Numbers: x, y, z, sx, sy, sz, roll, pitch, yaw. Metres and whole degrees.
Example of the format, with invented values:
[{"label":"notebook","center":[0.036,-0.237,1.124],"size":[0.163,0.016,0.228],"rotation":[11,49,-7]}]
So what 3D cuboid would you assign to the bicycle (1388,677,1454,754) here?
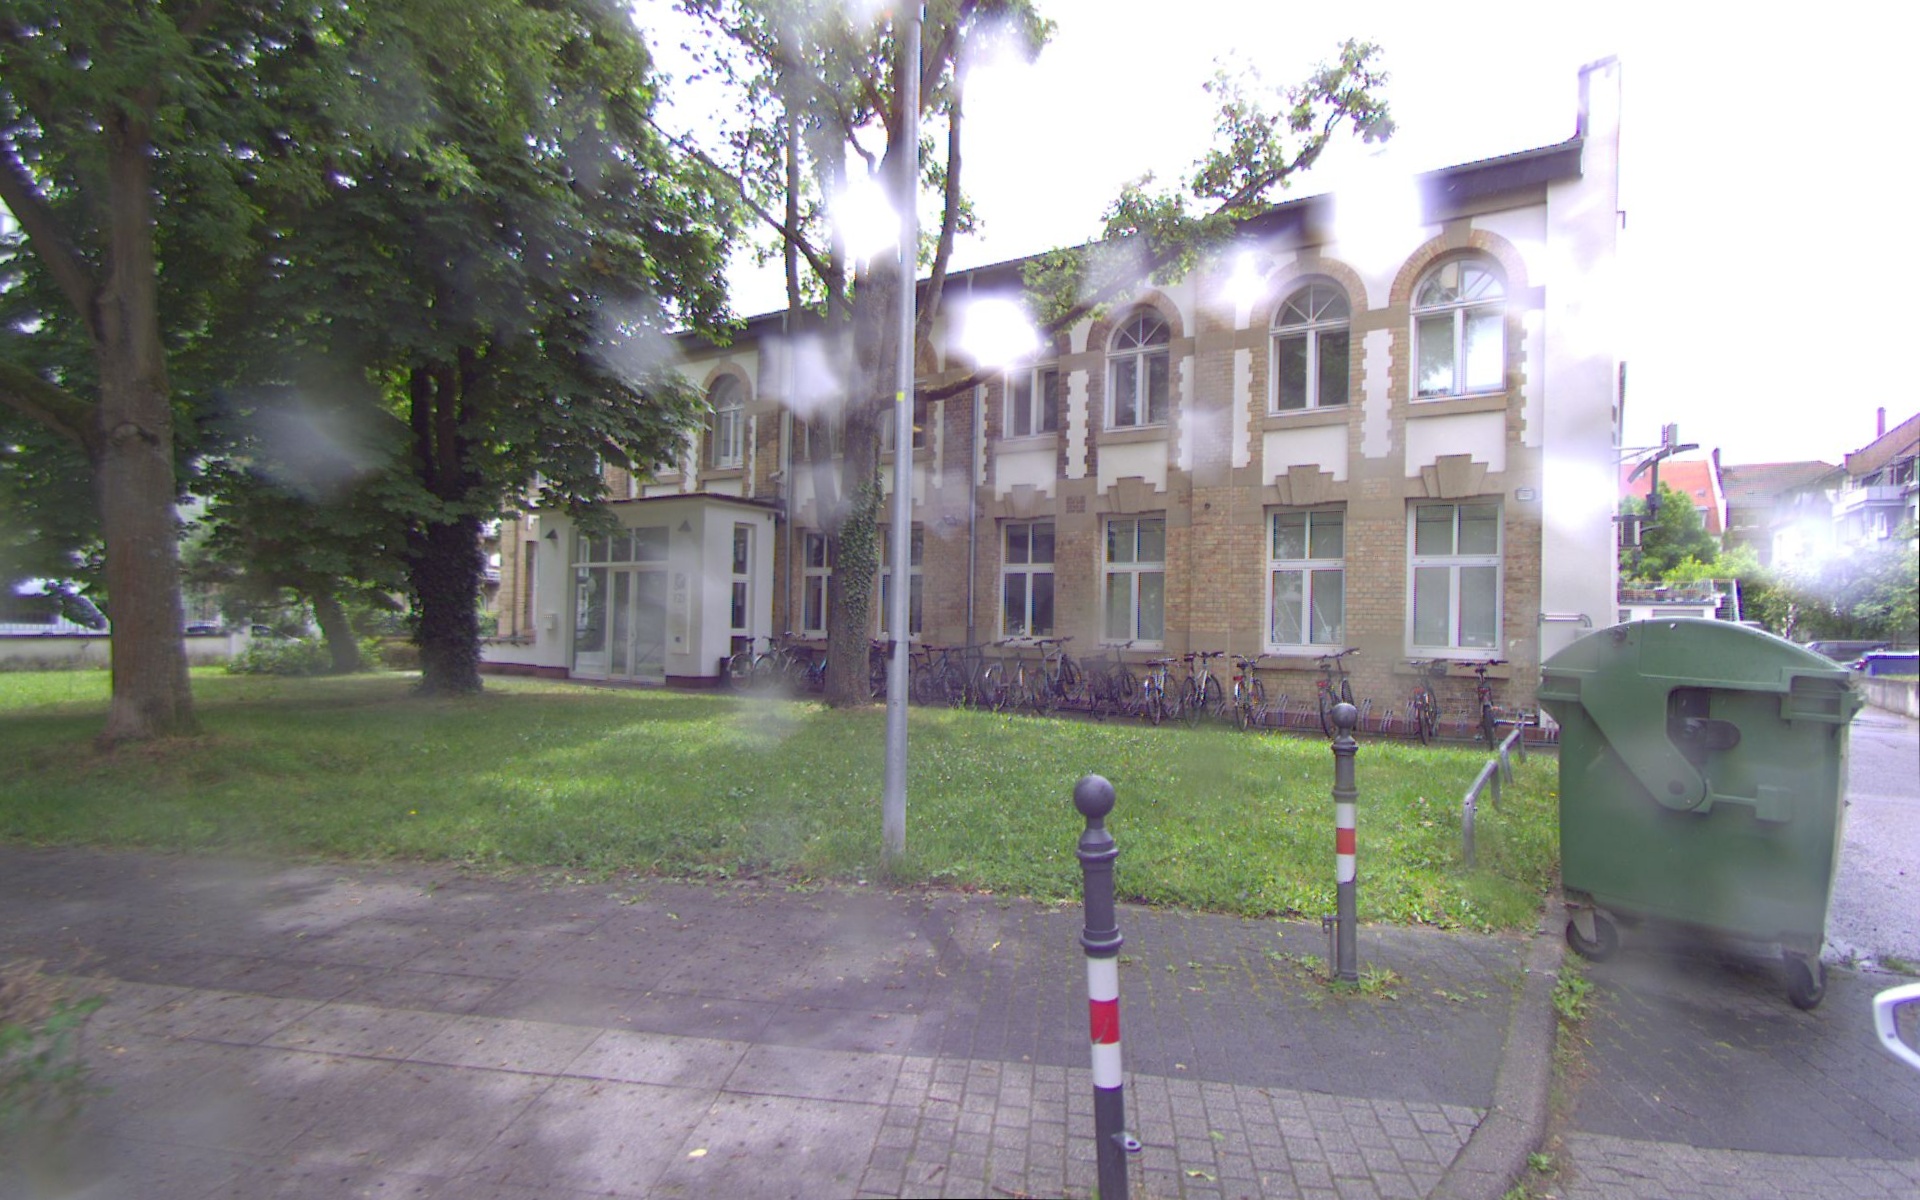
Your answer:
[{"label":"bicycle","center":[5.957,1.448,12.925],"size":[0.445,0.810,2.051],"rotation":[2,0,33]}]

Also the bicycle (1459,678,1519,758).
[{"label":"bicycle","center":[6.655,1.444,12.592],"size":[0.445,0.810,2.051],"rotation":[2,0,33]}]

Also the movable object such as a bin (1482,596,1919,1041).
[{"label":"movable object such as a bin","center":[3.195,0.766,4.453],"size":[1.389,1.490,1.557],"rotation":[2,0,33]}]

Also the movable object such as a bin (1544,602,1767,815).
[{"label":"movable object such as a bin","center":[5.568,0.793,8.152],"size":[1.340,1.490,1.362],"rotation":[2,0,33]}]

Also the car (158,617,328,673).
[{"label":"car","center":[-21.503,1.362,30.355],"size":[1.873,1.542,4.146],"rotation":[0,-3,5]}]

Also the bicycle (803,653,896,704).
[{"label":"bicycle","center":[-1.974,1.404,18.231],"size":[0.445,0.810,2.051],"rotation":[2,0,33]}]

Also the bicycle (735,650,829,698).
[{"label":"bicycle","center":[-3.356,1.383,19.142],"size":[0.445,0.810,2.051],"rotation":[2,0,33]}]

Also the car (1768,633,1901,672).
[{"label":"car","center":[43.947,2.625,50.636],"size":[4.637,1.857,2.108],"rotation":[-1,-2,27]}]

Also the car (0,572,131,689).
[{"label":"car","center":[-22.431,0.709,23.154],"size":[2.052,2.615,5.085],"rotation":[0,-3,5]}]

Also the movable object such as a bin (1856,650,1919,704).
[{"label":"movable object such as a bin","center":[24.851,2.035,26.838],"size":[1.158,1.335,1.053],"rotation":[2,0,33]}]

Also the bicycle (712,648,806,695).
[{"label":"bicycle","center":[-3.871,1.366,19.500],"size":[0.445,0.810,2.051],"rotation":[2,0,33]}]

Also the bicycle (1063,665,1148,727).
[{"label":"bicycle","center":[2.275,1.451,15.487],"size":[0.445,0.810,2.051],"rotation":[2,0,33]}]

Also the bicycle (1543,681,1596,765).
[{"label":"bicycle","center":[7.340,1.434,12.061],"size":[0.445,0.810,2.051],"rotation":[2,0,33]}]

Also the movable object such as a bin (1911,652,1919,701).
[{"label":"movable object such as a bin","center":[27.002,2.100,27.489],"size":[1.212,1.335,1.053],"rotation":[0,-1,33]}]

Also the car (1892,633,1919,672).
[{"label":"car","center":[38.419,2.013,38.154],"size":[4.037,1.474,1.830],"rotation":[-1,-3,29]}]

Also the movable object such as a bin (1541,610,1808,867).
[{"label":"movable object such as a bin","center":[4.851,0.847,6.947],"size":[1.340,1.490,1.349],"rotation":[2,0,33]}]

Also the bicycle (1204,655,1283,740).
[{"label":"bicycle","center":[4.056,1.352,14.285],"size":[0.445,1.052,2.051],"rotation":[2,0,33]}]

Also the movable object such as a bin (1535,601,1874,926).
[{"label":"movable object such as a bin","center":[4.105,0.787,5.710],"size":[1.340,1.490,1.461],"rotation":[2,0,33]}]

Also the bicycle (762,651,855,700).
[{"label":"bicycle","center":[-2.788,1.390,18.752],"size":[0.445,0.810,2.051],"rotation":[2,0,33]}]

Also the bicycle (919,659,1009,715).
[{"label":"bicycle","center":[0.095,1.437,16.874],"size":[0.445,0.810,2.051],"rotation":[2,0,33]}]

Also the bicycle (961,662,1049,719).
[{"label":"bicycle","center":[0.777,1.461,16.535],"size":[0.445,0.810,2.051],"rotation":[2,0,33]}]

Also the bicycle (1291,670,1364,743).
[{"label":"bicycle","center":[4.988,1.405,13.572],"size":[0.445,0.810,2.051],"rotation":[2,0,33]}]

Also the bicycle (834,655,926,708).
[{"label":"bicycle","center":[-1.393,1.419,17.847],"size":[0.445,0.810,2.051],"rotation":[2,0,33]}]

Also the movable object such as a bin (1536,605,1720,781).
[{"label":"movable object such as a bin","center":[6.381,0.827,9.673],"size":[1.340,1.490,1.362],"rotation":[2,0,33]}]

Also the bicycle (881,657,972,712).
[{"label":"bicycle","center":[-0.551,1.433,17.303],"size":[0.445,0.810,2.051],"rotation":[2,0,33]}]

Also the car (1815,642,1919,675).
[{"label":"car","center":[41.633,2.629,45.347],"size":[4.287,1.366,1.858],"rotation":[0,-2,27]}]

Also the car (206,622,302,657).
[{"label":"car","center":[-35.597,2.010,50.657],"size":[3.852,1.696,1.732],"rotation":[3,-4,-38]}]

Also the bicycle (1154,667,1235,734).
[{"label":"bicycle","center":[3.452,1.439,14.668],"size":[0.445,0.810,2.051],"rotation":[2,0,33]}]

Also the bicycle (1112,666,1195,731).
[{"label":"bicycle","center":[2.921,1.442,15.004],"size":[0.445,0.810,2.051],"rotation":[2,0,33]}]

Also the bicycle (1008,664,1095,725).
[{"label":"bicycle","center":[1.497,1.480,16.043],"size":[0.445,0.810,2.051],"rotation":[2,0,33]}]
